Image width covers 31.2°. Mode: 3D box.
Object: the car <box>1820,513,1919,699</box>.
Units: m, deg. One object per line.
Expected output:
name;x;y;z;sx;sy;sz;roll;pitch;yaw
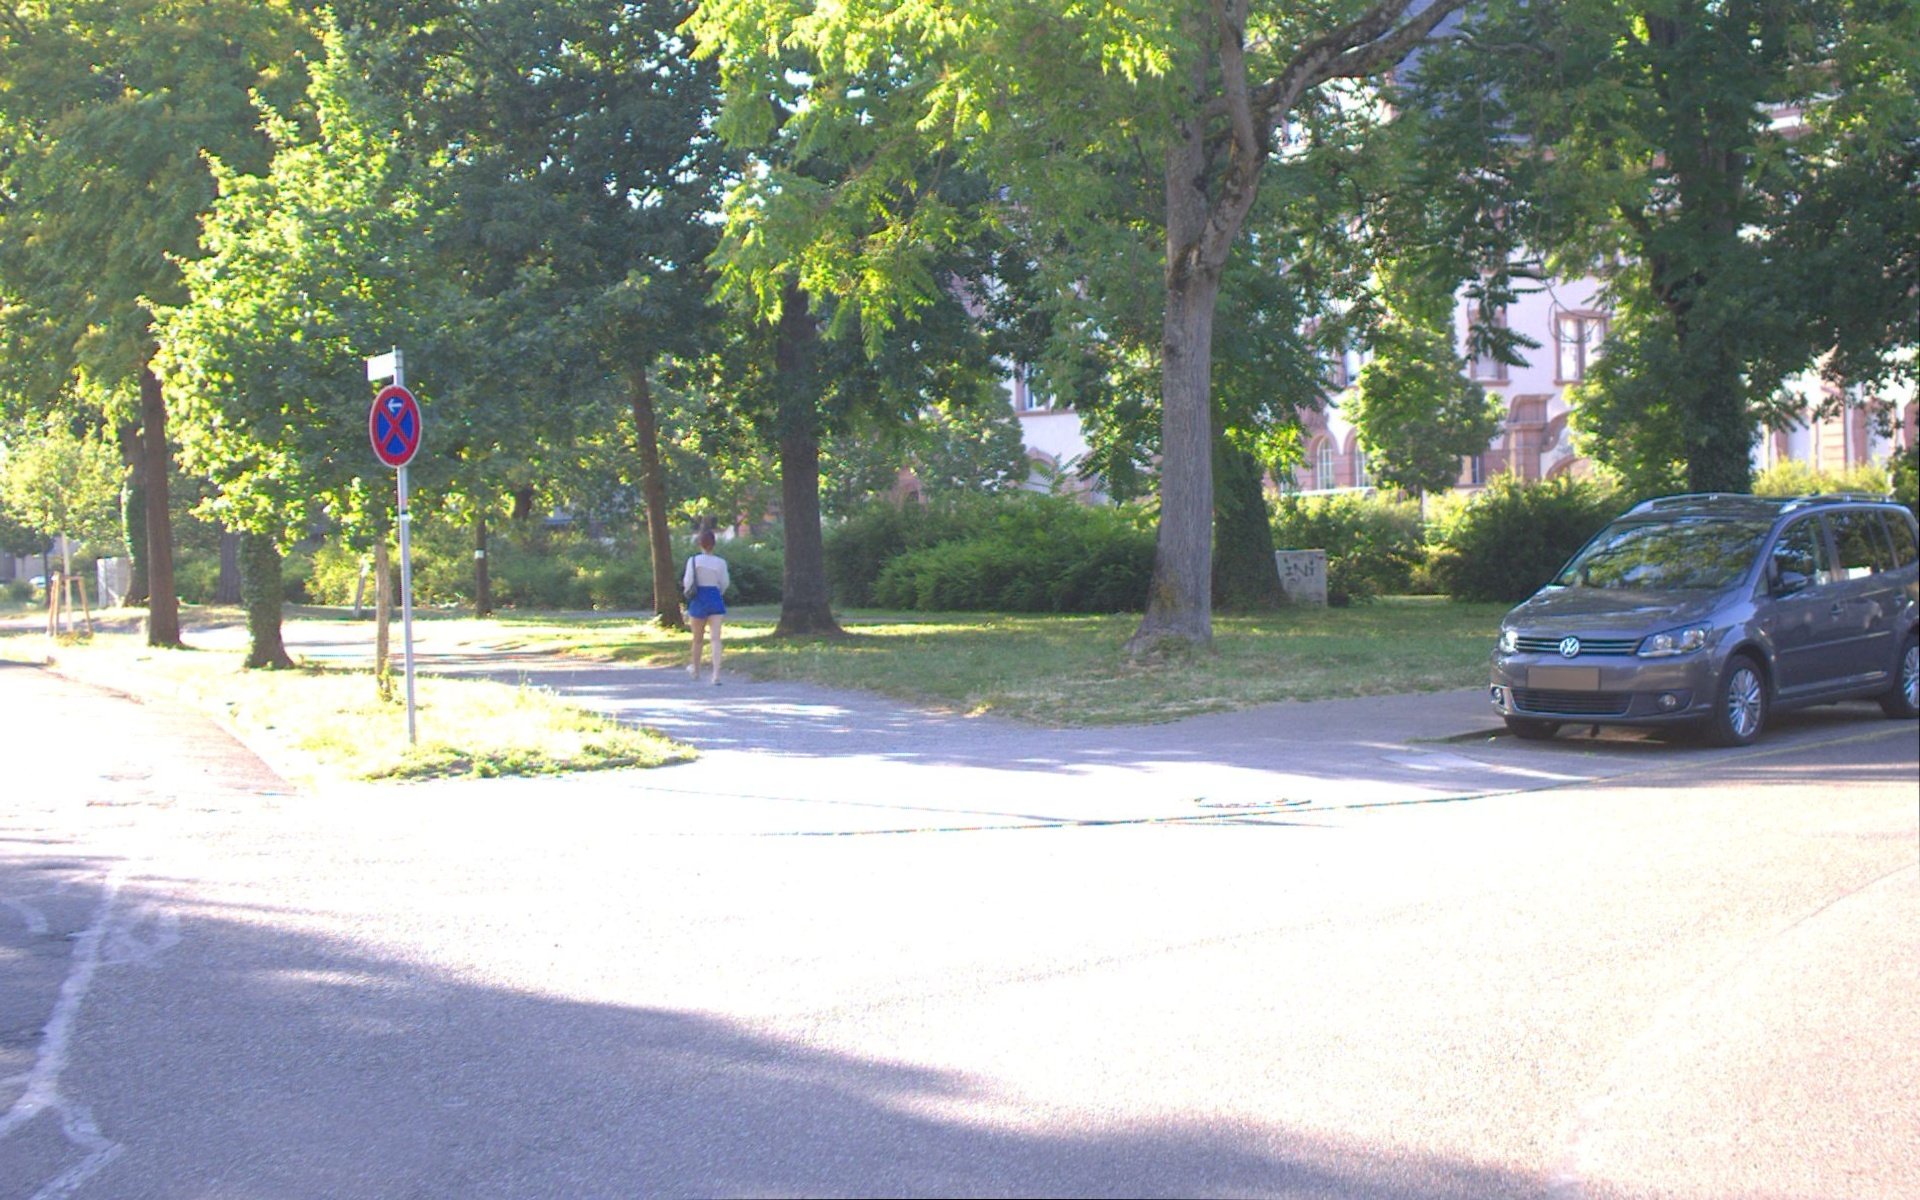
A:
car;8.450;0.009;28.063;1.391;1.418;3.419;2;3;40

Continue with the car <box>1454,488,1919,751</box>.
car;5.439;0.055;24.386;1.806;1.670;4.311;2;3;40

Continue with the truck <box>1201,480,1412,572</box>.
truck;11.906;-2.517;118.822;2.604;3.019;8.008;-2;1;-35

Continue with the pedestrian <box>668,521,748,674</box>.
pedestrian;-2.654;-0.036;36.095;0.773;1.569;0.768;-2;1;-5
